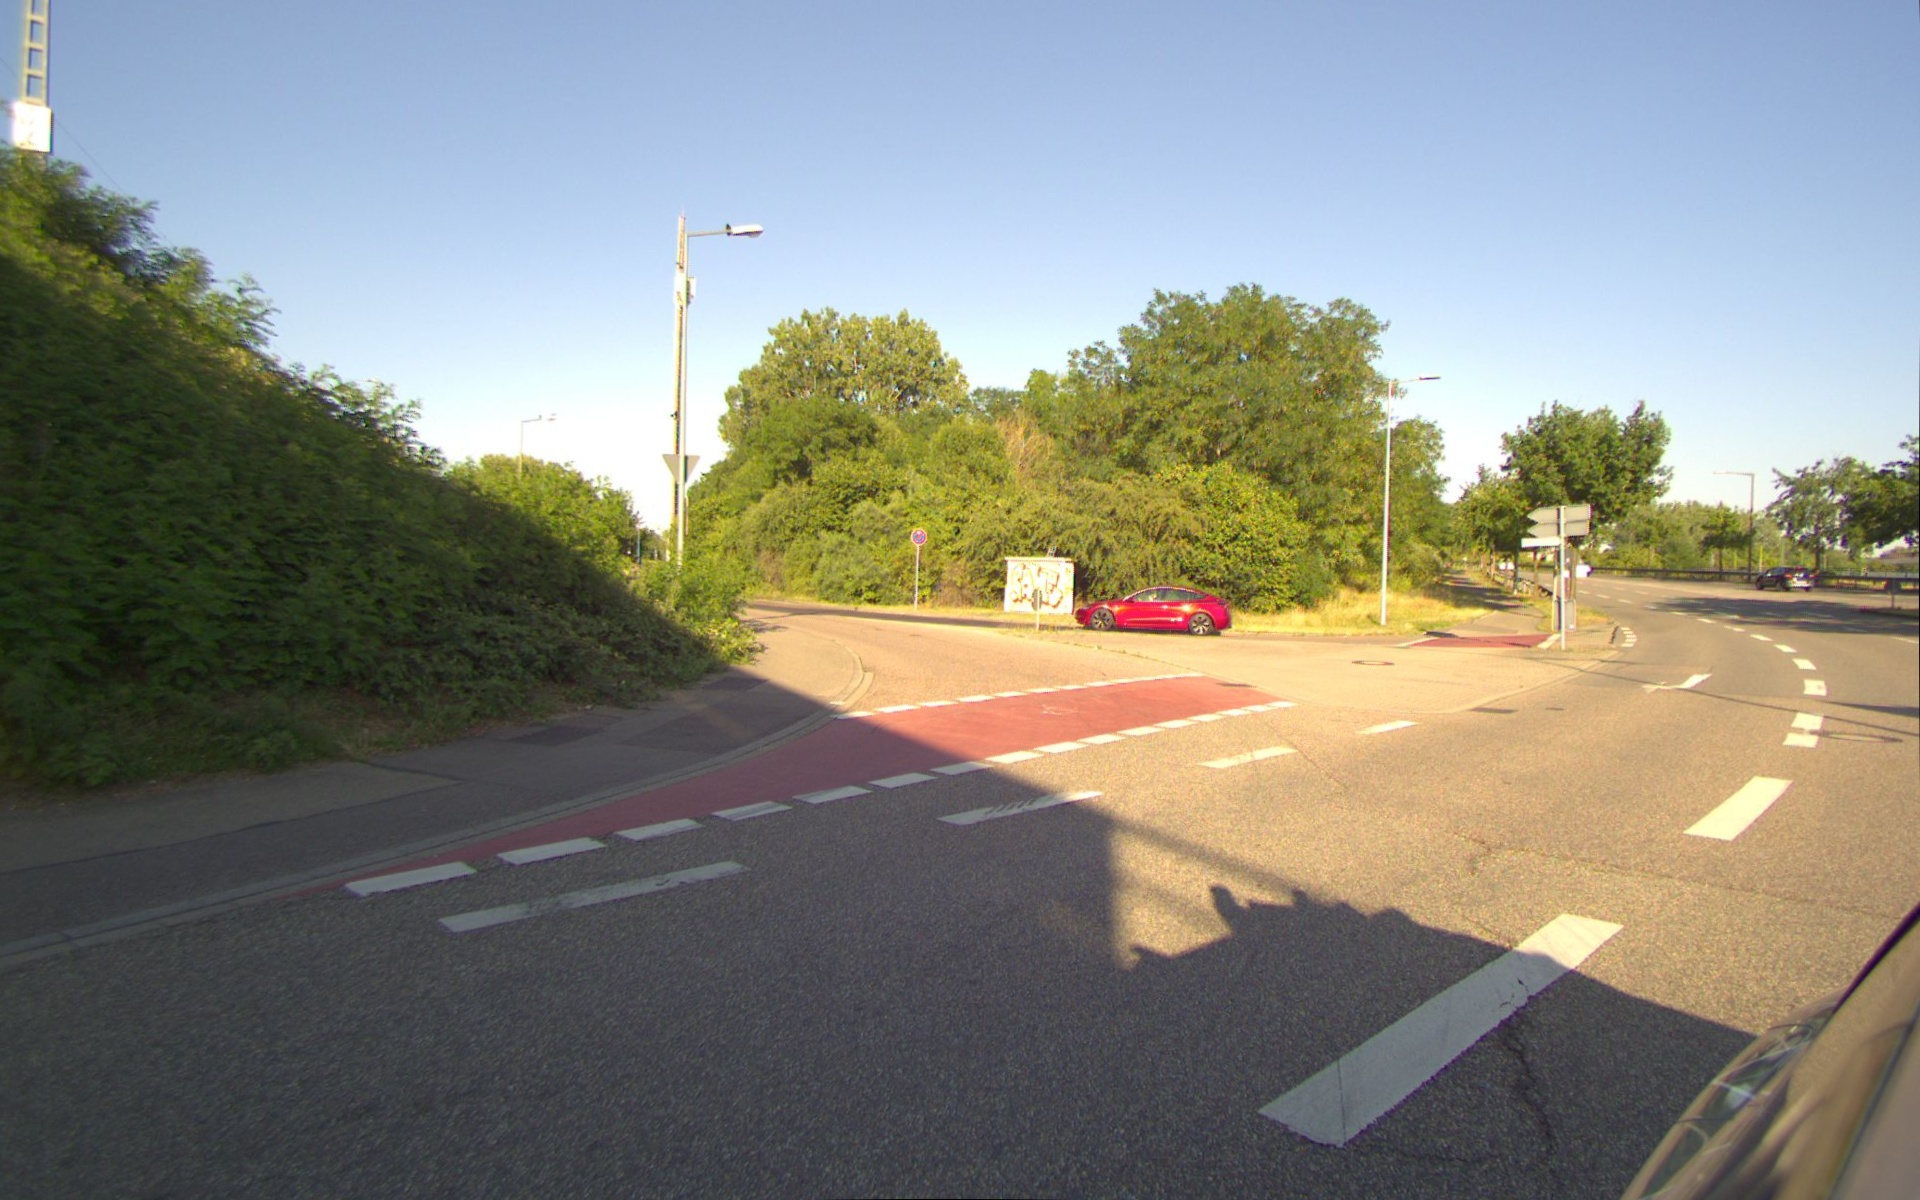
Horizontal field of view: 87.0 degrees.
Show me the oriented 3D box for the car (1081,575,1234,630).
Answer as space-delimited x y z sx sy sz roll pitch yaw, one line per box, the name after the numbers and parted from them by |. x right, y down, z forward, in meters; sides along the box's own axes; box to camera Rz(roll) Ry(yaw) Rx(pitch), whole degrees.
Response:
5.812 0.073 30.021 4.289 1.460 1.777 2 -1 10 | car

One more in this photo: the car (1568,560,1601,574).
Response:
63.917 -3.389 103.595 1.653 1.480 4.090 0 2 14 | car

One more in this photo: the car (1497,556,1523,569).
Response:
66.446 -4.557 122.346 1.718 1.481 3.754 -1 1 11 | car

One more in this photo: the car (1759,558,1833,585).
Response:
53.253 -1.847 64.567 1.824 1.623 4.378 1 2 13 | car
